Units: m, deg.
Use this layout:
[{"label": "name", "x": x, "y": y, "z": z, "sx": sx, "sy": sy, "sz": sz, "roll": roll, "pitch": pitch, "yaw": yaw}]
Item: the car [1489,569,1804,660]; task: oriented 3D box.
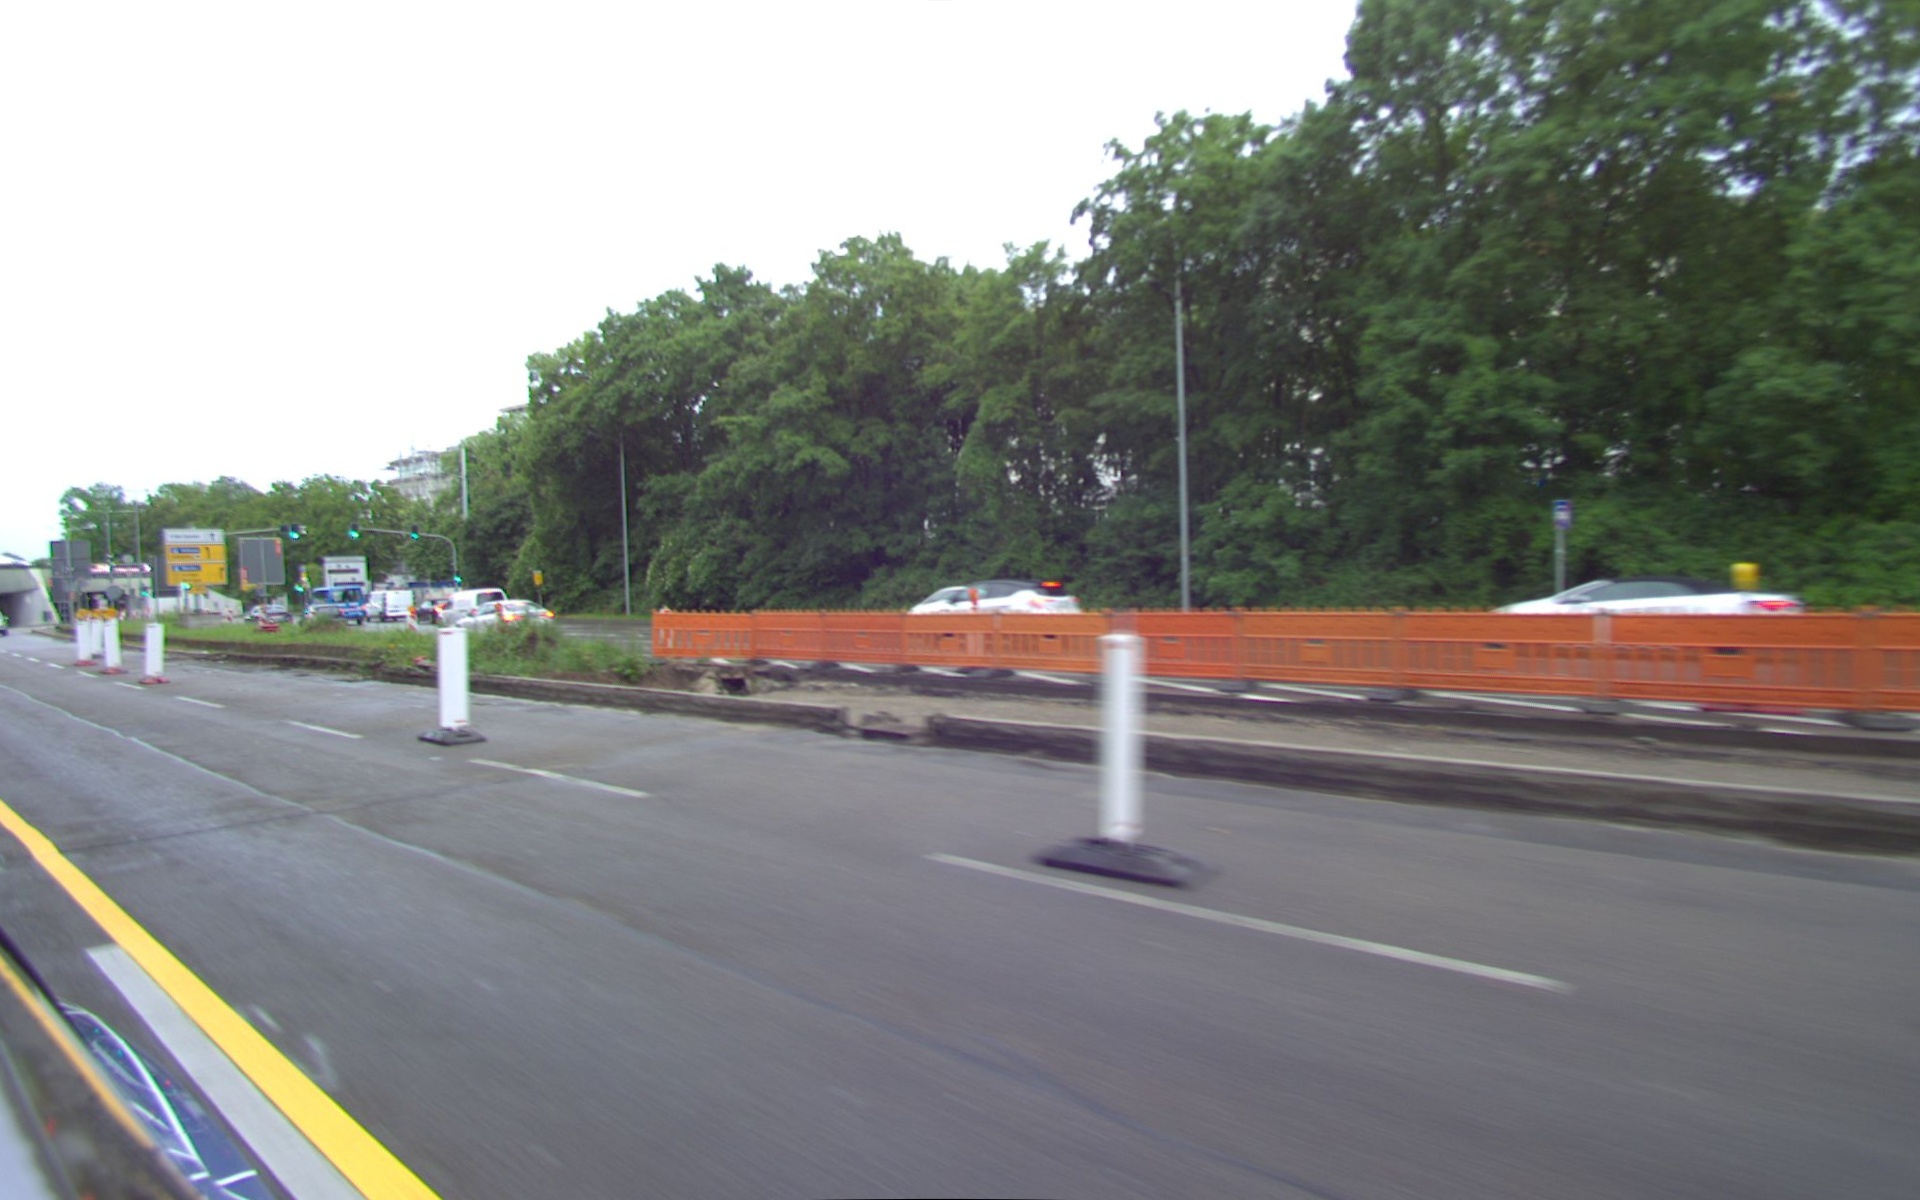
[{"label": "car", "x": 11.876, "y": 0.243, "z": 17.693, "sx": 4.367, "sy": 1.389, "sz": 1.791, "roll": -1, "pitch": 0, "yaw": 41}]

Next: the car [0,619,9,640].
[{"label": "car", "x": -62.486, "y": 1.938, "z": 64.936, "sx": 3.822, "sy": 1.317, "sz": 1.676, "roll": -1, "pitch": 0, "yaw": 41}]

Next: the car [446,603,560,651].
[{"label": "car", "x": -15.756, "y": 0.933, "z": 34.754, "sx": 4.677, "sy": 1.497, "sz": 1.836, "roll": -2, "pitch": 0, "yaw": 42}]

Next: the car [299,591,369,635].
[{"label": "car", "x": -38.195, "y": 0.842, "z": 61.619, "sx": 2.170, "sy": 2.408, "sz": 6.247, "roll": -3, "pitch": 1, "yaw": -45}]

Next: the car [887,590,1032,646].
[{"label": "car", "x": -0.047, "y": 0.503, "z": 28.604, "sx": 3.895, "sy": 1.436, "sz": 1.772, "roll": -1, "pitch": 0, "yaw": 42}]

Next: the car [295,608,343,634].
[{"label": "car", "x": -32.858, "y": 1.079, "z": 51.850, "sx": 1.413, "sy": 1.209, "sz": 3.302, "roll": -3, "pitch": 1, "yaw": -44}]

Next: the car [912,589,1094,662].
[{"label": "car", "x": 0.951, "y": 0.580, "z": 23.834, "sx": 4.038, "sy": 1.562, "sz": 1.816, "roll": -1, "pitch": 0, "yaw": 42}]

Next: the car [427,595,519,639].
[{"label": "car", "x": -21.604, "y": 0.781, "z": 44.821, "sx": 4.831, "sy": 1.794, "sz": 1.894, "roll": -2, "pitch": 0, "yaw": 41}]

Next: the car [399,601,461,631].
[{"label": "car", "x": -29.826, "y": 0.882, "z": 56.911, "sx": 1.773, "sy": 1.535, "sz": 4.637, "roll": -3, "pitch": 1, "yaw": -44}]

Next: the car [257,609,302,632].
[{"label": "car", "x": -40.694, "y": 1.206, "z": 60.486, "sx": 1.530, "sy": 1.209, "sz": 4.652, "roll": -3, "pitch": 1, "yaw": -42}]

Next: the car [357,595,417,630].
[{"label": "car", "x": -36.672, "y": 0.807, "z": 64.748, "sx": 2.012, "sy": 1.989, "sz": 4.992, "roll": -3, "pitch": 1, "yaw": -45}]
